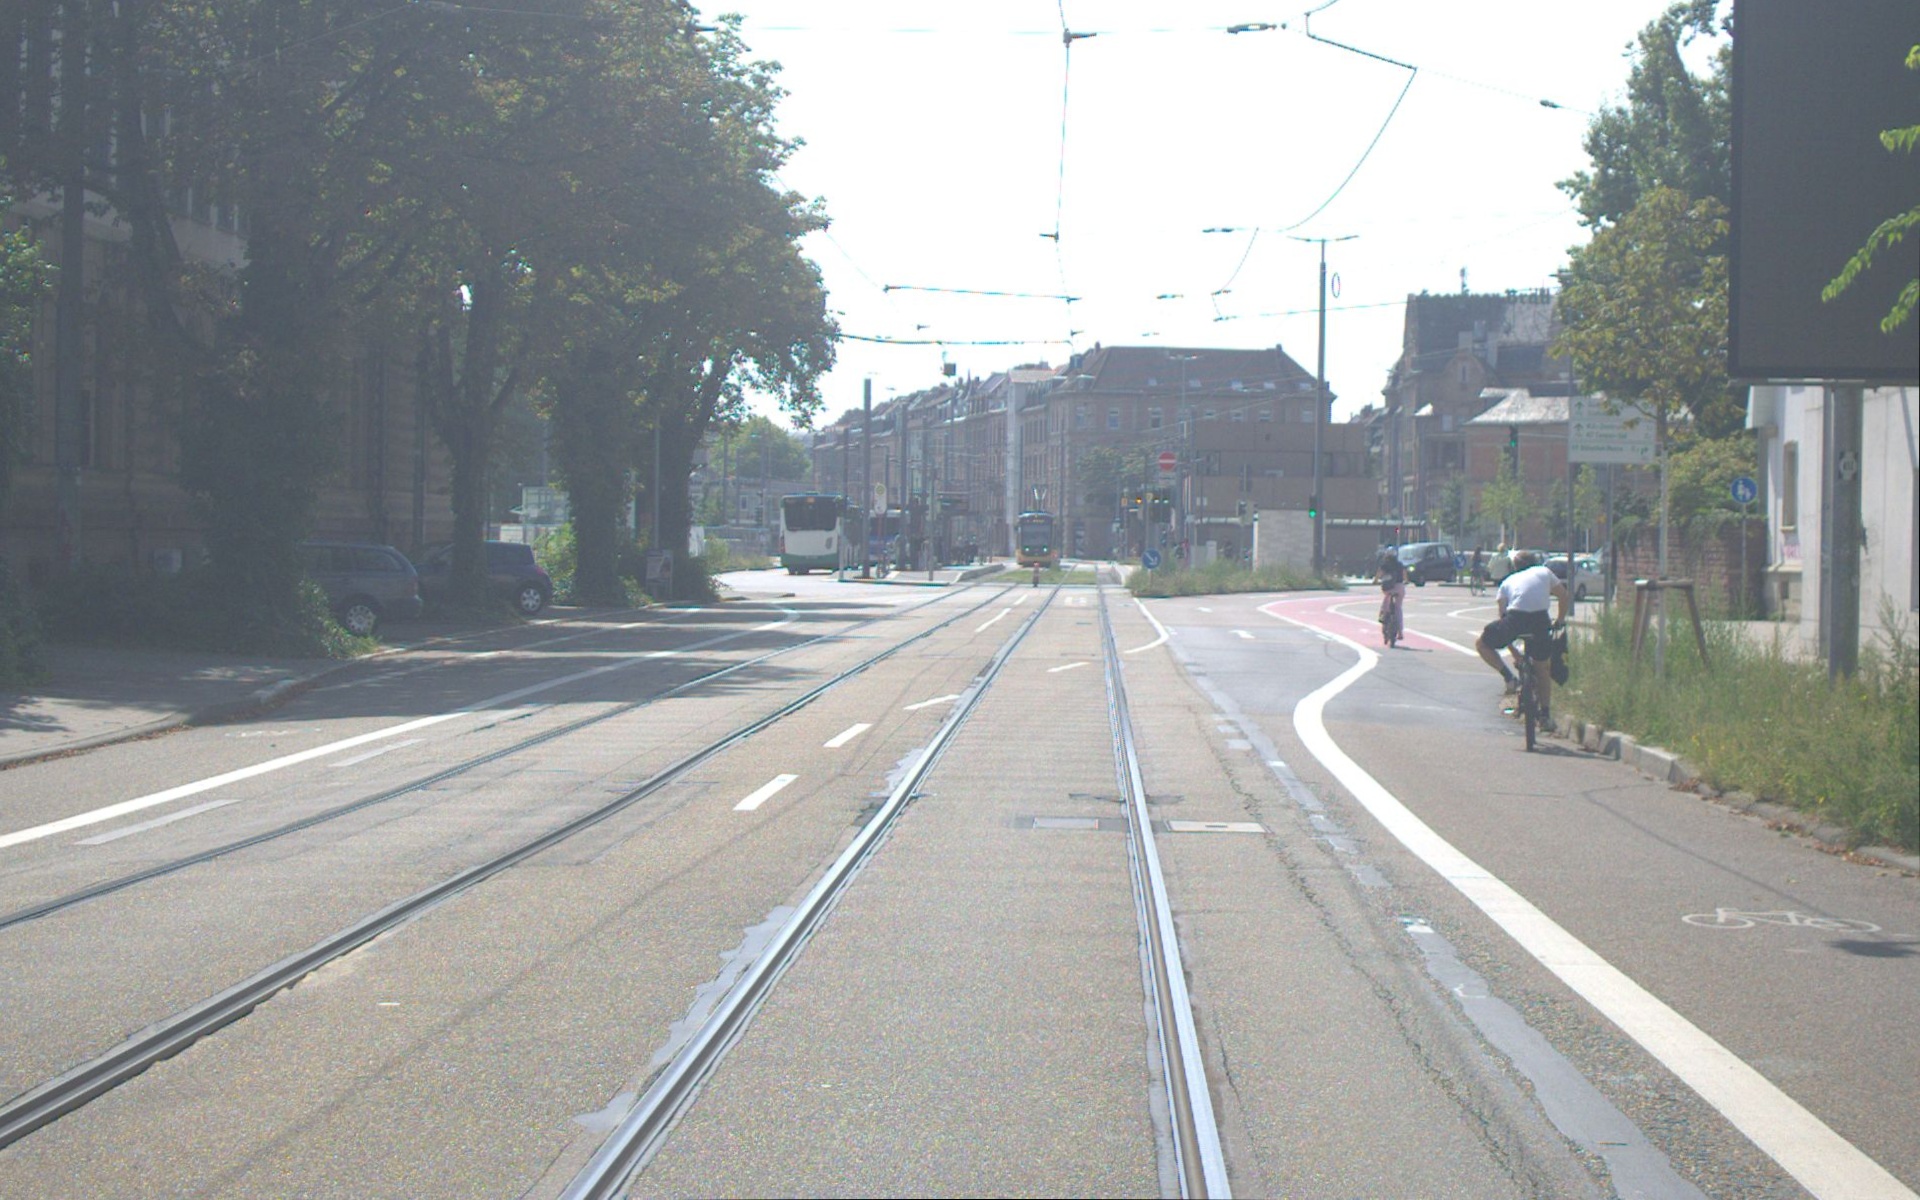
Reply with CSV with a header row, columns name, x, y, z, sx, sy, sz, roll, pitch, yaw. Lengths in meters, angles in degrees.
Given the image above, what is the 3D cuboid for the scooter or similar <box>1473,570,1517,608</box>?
name,x,y,z,sx,sy,sz,roll,pitch,yaw
scooter or similar,13.509,-0.285,86.760,0.773,0.923,1.619,2,1,20

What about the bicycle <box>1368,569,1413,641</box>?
name,x,y,z,sx,sy,sz,roll,pitch,yaw
bicycle,7.167,0.068,57.288,0.604,1.159,1.810,1,1,4

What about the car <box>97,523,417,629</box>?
name,x,y,z,sx,sy,sz,roll,pitch,yaw
car,-10.615,-0.359,51.947,4.414,1.457,1.821,1,1,-24

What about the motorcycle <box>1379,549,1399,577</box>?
name,x,y,z,sx,sy,sz,roll,pitch,yaw
motorcycle,19.048,-1.648,152.676,0.604,1.206,2.252,1,1,13

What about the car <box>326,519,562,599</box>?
name,x,y,z,sx,sy,sz,roll,pitch,yaw
car,-10.071,-0.801,67.174,4.150,1.491,1.821,0,2,-35

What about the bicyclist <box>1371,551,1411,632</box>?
name,x,y,z,sx,sy,sz,roll,pitch,yaw
bicyclist,7.165,-0.140,57.176,0.603,1.330,0.660,1,1,3

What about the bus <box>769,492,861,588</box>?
name,x,y,z,sx,sy,sz,roll,pitch,yaw
bus,-5.986,-2.487,143.562,2.958,3.762,10.596,2,1,2

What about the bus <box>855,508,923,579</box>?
name,x,y,z,sx,sy,sz,roll,pitch,yaw
bus,-3.852,-3.067,189.173,2.710,3.714,10.418,2,1,4

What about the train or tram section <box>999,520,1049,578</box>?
name,x,y,z,sx,sy,sz,roll,pitch,yaw
train or tram section,4.228,-3.340,224.810,2.856,3.536,17.742,2,1,2

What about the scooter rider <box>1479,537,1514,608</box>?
name,x,y,z,sx,sy,sz,roll,pitch,yaw
scooter rider,13.560,-0.704,86.870,0.763,1.769,0.554,1,1,20

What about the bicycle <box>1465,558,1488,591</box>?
name,x,y,z,sx,sy,sz,roll,pitch,yaw
bicycle,17.631,-0.867,117.381,0.444,1.113,1.444,1,1,22

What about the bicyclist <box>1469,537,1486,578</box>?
name,x,y,z,sx,sy,sz,roll,pitch,yaw
bicyclist,17.668,-1.452,117.407,0.450,1.416,0.495,1,1,22

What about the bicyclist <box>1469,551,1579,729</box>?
name,x,y,z,sx,sy,sz,roll,pitch,yaw
bicyclist,4.602,0.315,28.107,0.745,1.407,0.962,1,1,3

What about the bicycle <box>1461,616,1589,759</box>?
name,x,y,z,sx,sy,sz,roll,pitch,yaw
bicycle,4.593,0.692,28.074,0.739,1.045,2.233,1,1,2
